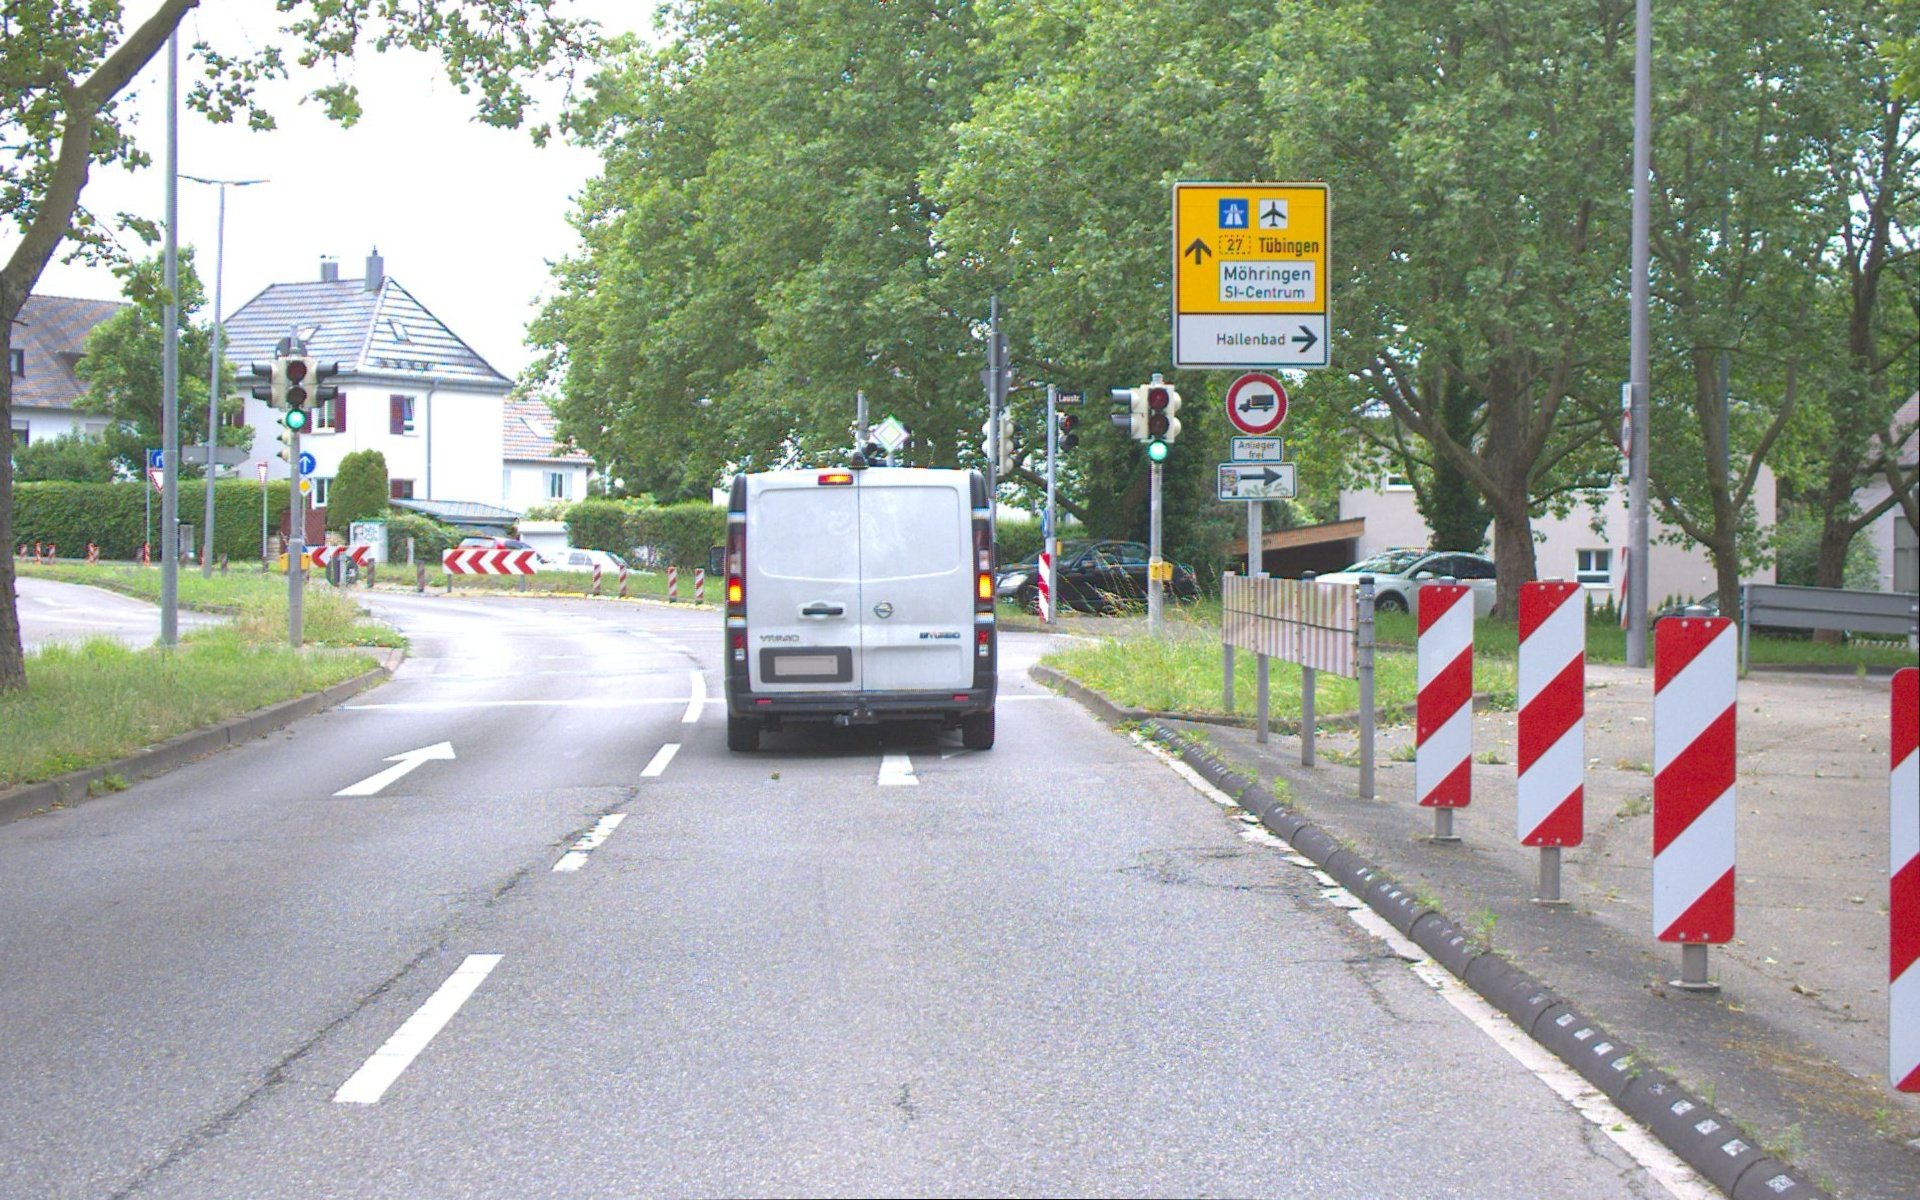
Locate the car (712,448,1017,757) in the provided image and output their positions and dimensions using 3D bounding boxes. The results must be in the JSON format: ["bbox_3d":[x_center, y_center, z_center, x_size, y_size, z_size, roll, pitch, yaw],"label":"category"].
[{"bbox_3d":[-0.768,-0.018,25.173,2.006,2.031,5.011,0,1,-3],"label":"car"}]

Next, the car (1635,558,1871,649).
[{"bbox_3d":[16.021,0.068,69.386,4.730,1.763,2.000,0,1,-36],"label":"car"}]

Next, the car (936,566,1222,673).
[{"bbox_3d":[2.101,0.328,59.922,4.730,1.763,2.000,0,1,-36],"label":"car"}]

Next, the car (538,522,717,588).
[{"bbox_3d":[-9.303,-1.269,96.079,4.738,1.763,1.996,2,1,33],"label":"car"}]

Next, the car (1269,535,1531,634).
[{"bbox_3d":[8.207,-0.287,63.940,4.730,1.763,2.000,0,1,-36],"label":"car"}]
